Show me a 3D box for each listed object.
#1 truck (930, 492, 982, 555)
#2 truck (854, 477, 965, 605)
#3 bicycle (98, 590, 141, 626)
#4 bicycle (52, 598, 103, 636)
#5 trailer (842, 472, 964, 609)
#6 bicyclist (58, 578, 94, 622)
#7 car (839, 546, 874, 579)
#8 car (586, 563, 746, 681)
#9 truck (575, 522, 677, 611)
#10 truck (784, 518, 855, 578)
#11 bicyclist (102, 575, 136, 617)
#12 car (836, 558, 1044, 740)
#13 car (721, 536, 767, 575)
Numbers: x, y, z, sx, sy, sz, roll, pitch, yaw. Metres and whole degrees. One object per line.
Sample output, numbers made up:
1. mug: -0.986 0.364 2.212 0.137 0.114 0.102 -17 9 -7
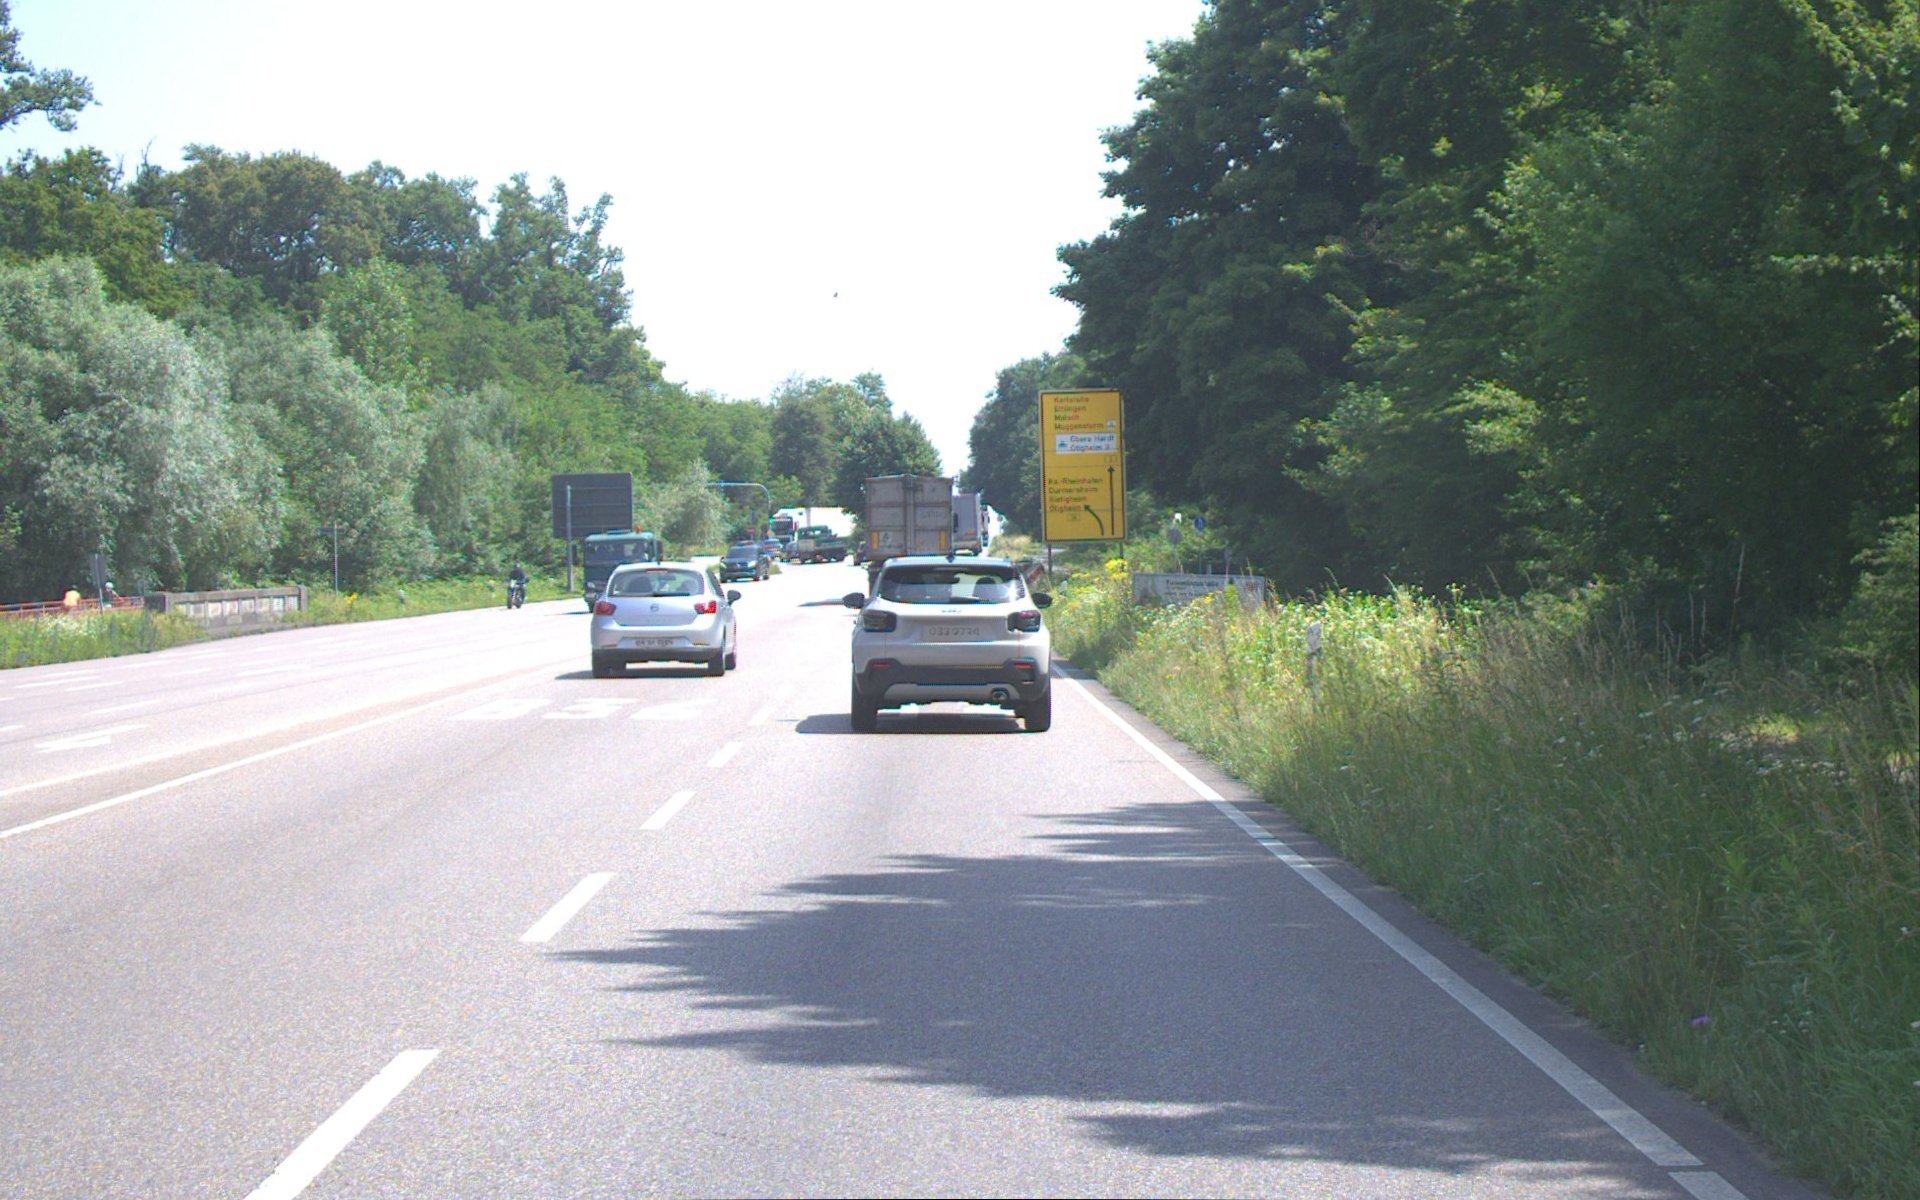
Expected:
1. truck: -0.290 -5.213 236.836 3.497 4.173 10.784 0 0 0
2. truck: -1.567 -1.859 110.196 3.333 3.975 6.533 0 0 1
3. bicycle: -24.801 0.238 101.466 0.604 1.002 1.555 -2 0 11
4. bicycle: -25.047 0.489 97.637 0.676 1.001 1.800 -2 1 10
5. trailer: -1.649 -1.770 105.159 3.383 3.975 10.804 0 0 1
6. bicyclist: -25.089 -0.001 97.527 0.757 1.191 0.592 -2 1 11
7. car: -6.674 -2.427 221.885 1.993 2.007 4.554 -2 1 -4
8. car: -3.715 0.250 44.003 1.666 1.425 3.828 0 1 1
9. truck: -10.827 -1.110 111.940 2.454 2.647 6.491 -4 1 1
10. truck: -10.088 -3.717 246.084 3.645 4.091 9.511 -2 1 -10
11. bicyclist: -24.827 -0.124 101.474 0.735 1.191 0.591 -2 0 11
12. car: -0.137 0.396 31.496 1.767 1.529 4.000 -1 1 1
13. car: -10.771 -2.223 171.816 1.993 1.875 4.960 -2 1 0
